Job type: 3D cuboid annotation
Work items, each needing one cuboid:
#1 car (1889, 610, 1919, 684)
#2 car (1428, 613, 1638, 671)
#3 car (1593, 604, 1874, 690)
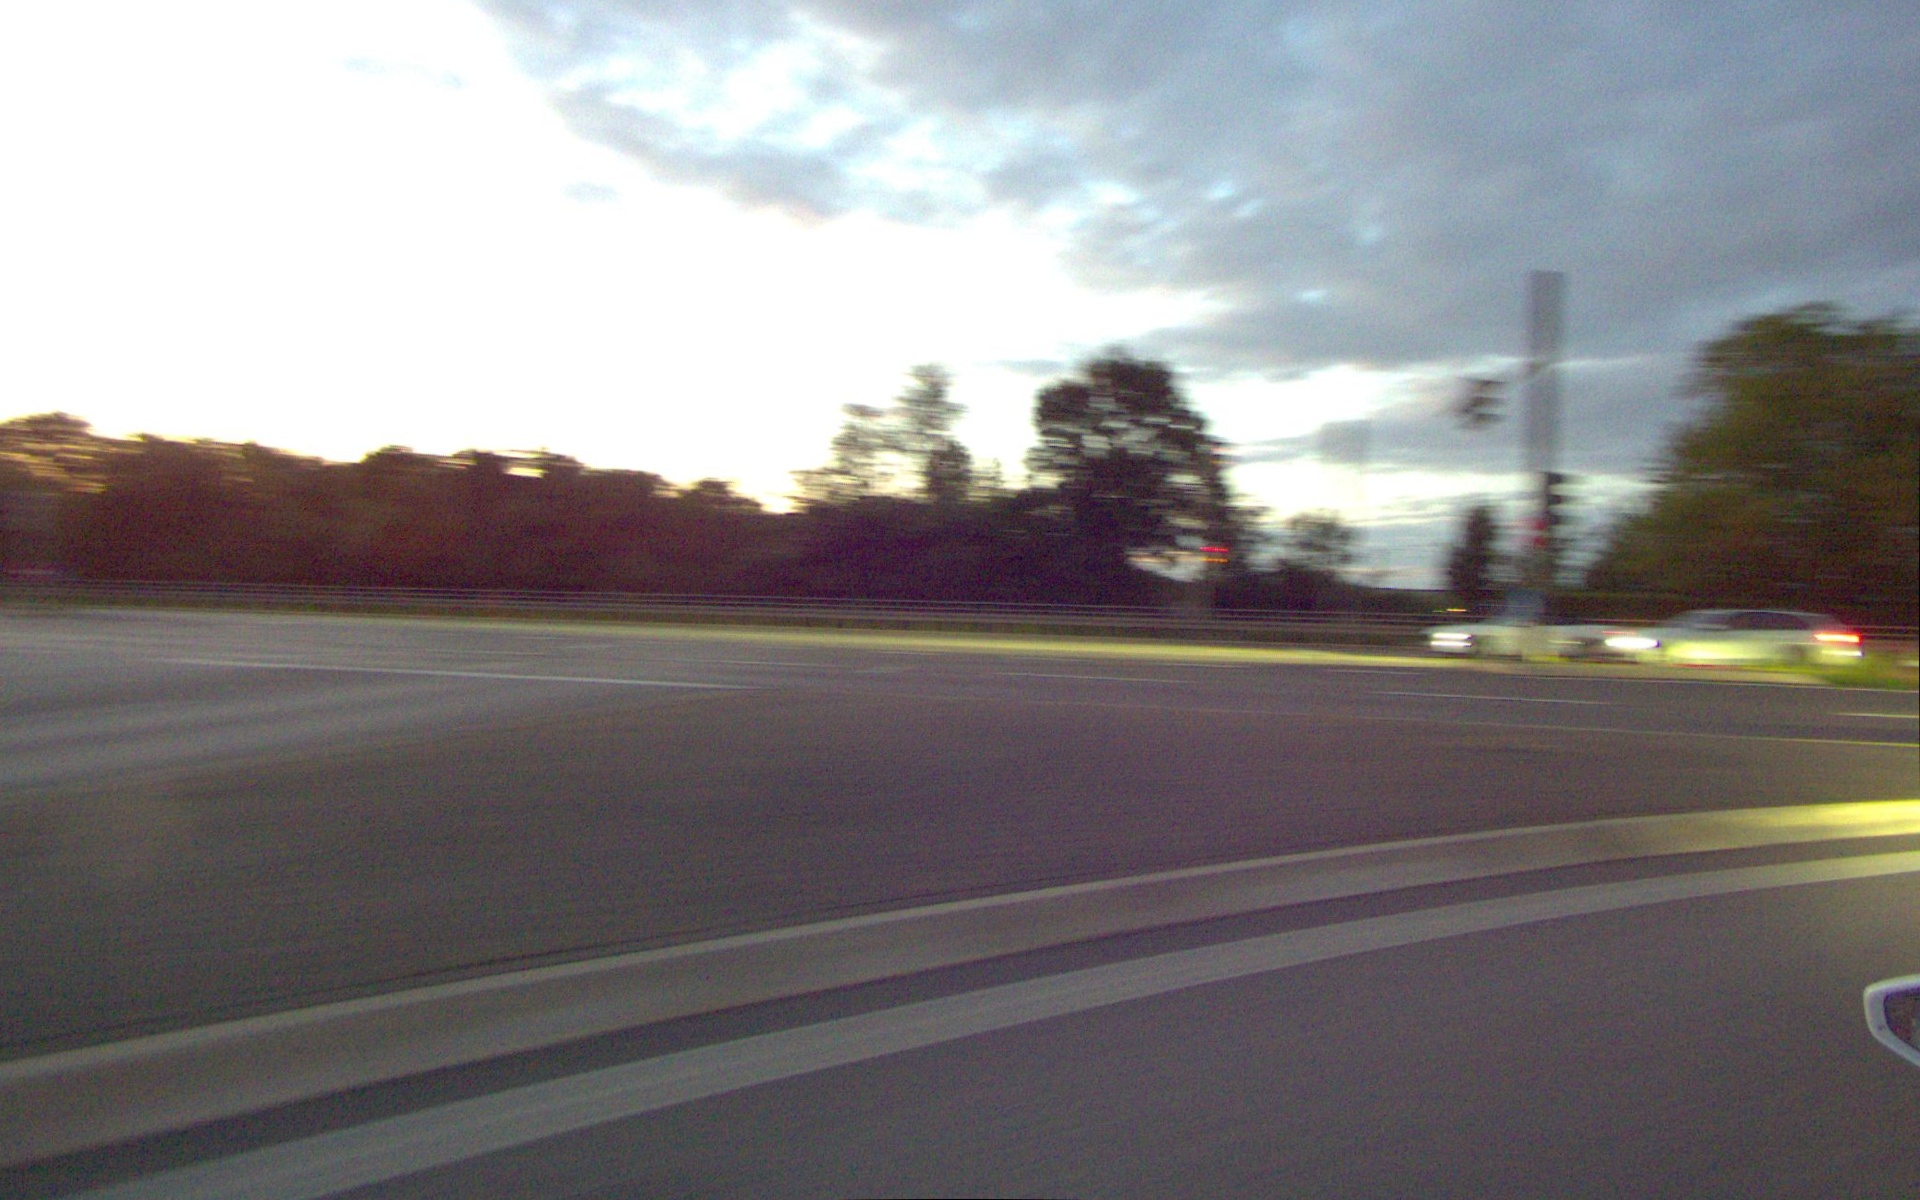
[{"bbox_3d":[21.333,0.972,19.167,4.945,1.472,2.001,1,-1,13],"label":"car"},{"bbox_3d":[15.741,1.120,27.846,4.638,1.472,2.001,1,-1,11],"label":"car"},{"bbox_3d":[17.861,1.051,23.461,4.774,1.704,2.001,2,0,10],"label":"car"}]
